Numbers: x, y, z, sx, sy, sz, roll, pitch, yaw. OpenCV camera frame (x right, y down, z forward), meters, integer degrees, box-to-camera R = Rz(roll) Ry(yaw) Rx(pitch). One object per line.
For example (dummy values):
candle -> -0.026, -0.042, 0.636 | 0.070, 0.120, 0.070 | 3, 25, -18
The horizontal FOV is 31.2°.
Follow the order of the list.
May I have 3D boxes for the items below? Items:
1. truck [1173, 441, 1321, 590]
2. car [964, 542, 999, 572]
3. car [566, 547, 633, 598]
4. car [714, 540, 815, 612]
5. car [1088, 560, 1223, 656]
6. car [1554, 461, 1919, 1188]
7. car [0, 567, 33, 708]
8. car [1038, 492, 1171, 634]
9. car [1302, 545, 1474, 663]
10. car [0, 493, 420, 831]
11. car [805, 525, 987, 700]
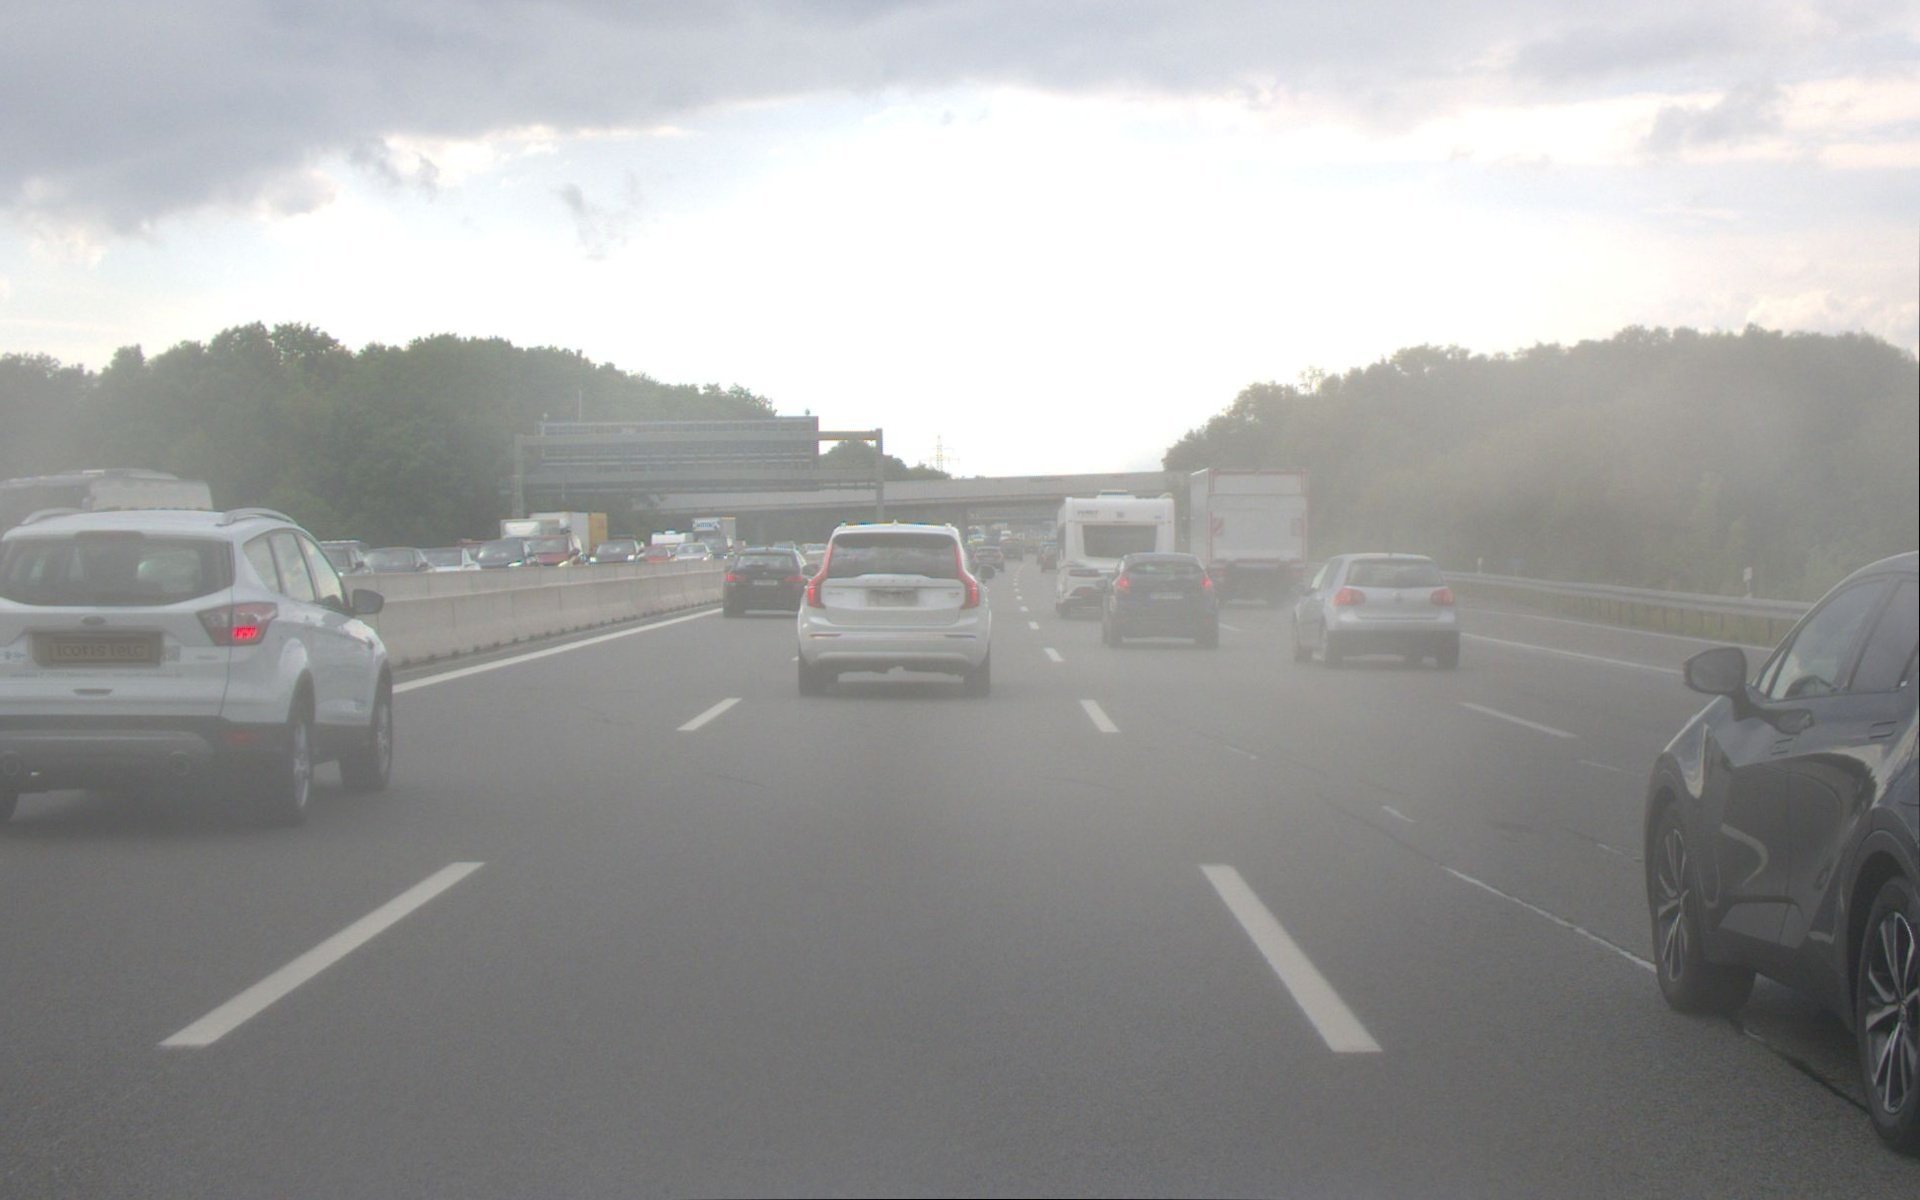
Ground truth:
truck -> 7.482, -2.193, 90.899 | 3.133, 3.697, 9.848 | 0, 1, 0
car -> 1.197, -2.476, 195.486 | 1.881, 1.680, 4.000 | 0, 1, -1
car -> -13.695, -1.053, 130.710 | 1.993, 1.897, 4.503 | 0, 1, 1
car -> -4.153, -0.531, 73.601 | 1.781, 1.476, 4.353 | 0, 1, 2
car -> 3.014, 0.093, 53.707 | 1.885, 1.402, 4.282 | 0, 1, 0
car -> 2.999, 0.464, 9.752 | 1.781, 1.607, 4.598 | 0, 1, -1
car -> -14.482, 0.544, 47.610 | 1.993, 1.960, 4.696 | 0, 1, 1
car -> 3.041, -0.816, 73.987 | 2.567, 2.885, 7.534 | 0, 1, 0
car -> 5.593, 0.012, 45.368 | 1.795, 1.472, 4.038 | 0, 1, 1
car -> -4.332, 0.256, 19.593 | 1.815, 1.684, 4.852 | 0, 1, -1
car -> -0.676, 0.085, 35.883 | 1.781, 1.710, 4.353 | 0, 1, -1
